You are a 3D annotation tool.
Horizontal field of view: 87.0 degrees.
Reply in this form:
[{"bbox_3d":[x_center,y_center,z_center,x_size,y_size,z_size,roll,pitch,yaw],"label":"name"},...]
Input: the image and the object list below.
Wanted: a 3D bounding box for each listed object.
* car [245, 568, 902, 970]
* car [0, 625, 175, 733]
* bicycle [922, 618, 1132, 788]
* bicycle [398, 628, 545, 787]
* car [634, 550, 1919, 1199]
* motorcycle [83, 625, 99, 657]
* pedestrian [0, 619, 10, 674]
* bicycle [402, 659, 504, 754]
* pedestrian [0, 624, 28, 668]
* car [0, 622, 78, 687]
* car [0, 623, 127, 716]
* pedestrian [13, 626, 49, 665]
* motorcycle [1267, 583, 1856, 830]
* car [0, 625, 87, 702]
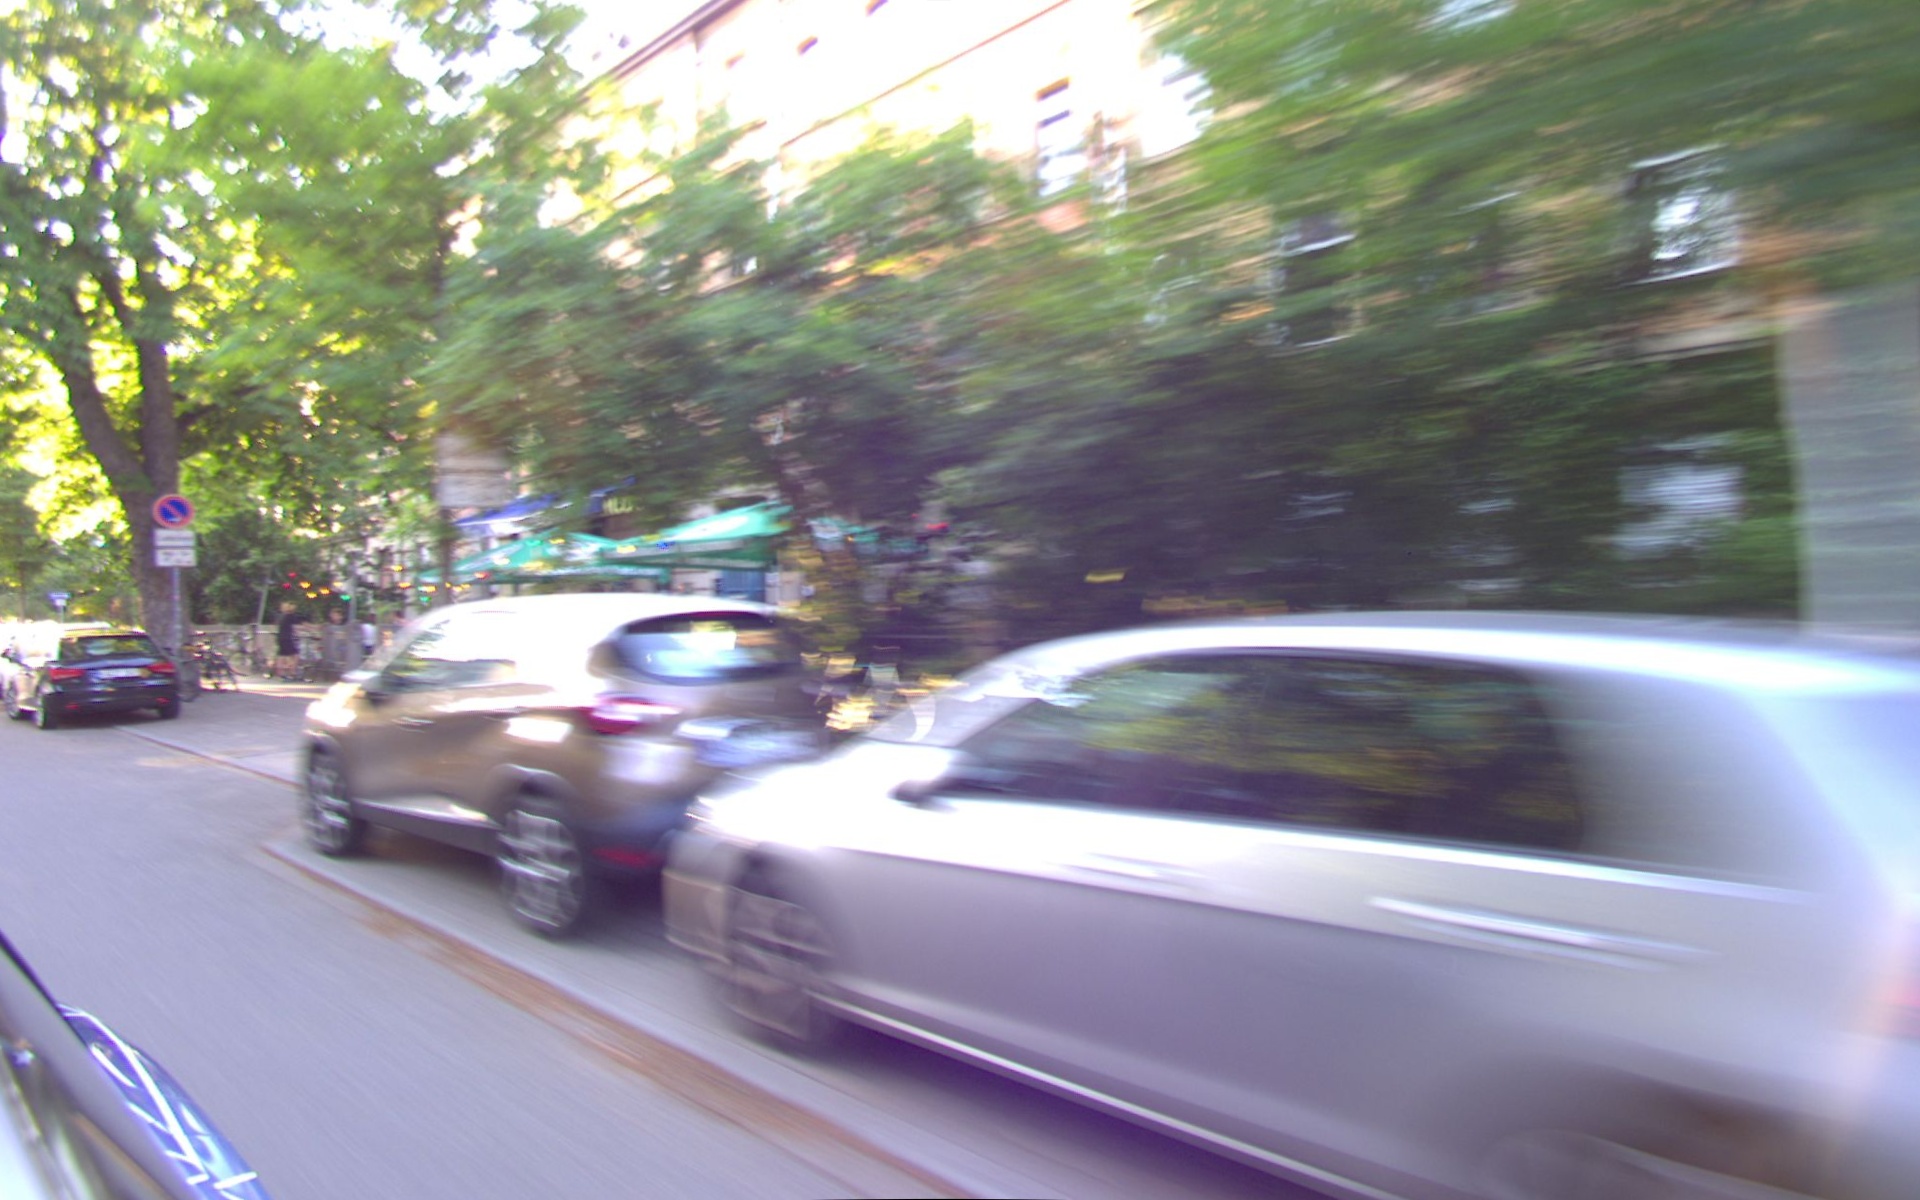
[{"bbox_3d":[-2.563,0.725,6.093,4.397,1.575,1.673,-2,1,39],"label":"car"},{"bbox_3d":[-13.823,1.176,15.942,3.690,1.497,1.536,-2,-2,40],"label":"car"},{"bbox_3d":[0.500,0.823,9.001,0.597,1.294,2.493,0,-2,-29],"label":"bicycle"},{"bbox_3d":[-4.433,0.914,9.110,1.900,1.264,0.477,-2,2,44],"label":"bicycle"},{"bbox_3d":[1.053,0.680,2.868,4.400,1.513,1.672,-1,2,41],"label":"car"},{"bbox_3d":[-34.185,1.594,39.802,0.386,1.194,1.960,-2,0,-39],"label":"motorcycle"},{"bbox_3d":[-36.297,1.744,37.781,1.002,2.029,0.863,-1,-2,21],"label":"pedestrian"},{"bbox_3d":[-5.630,1.142,11.185,1.734,0.936,0.411,-2,1,44],"label":"bicycle"},{"bbox_3d":[-40.740,1.955,43.413,1.000,1.849,0.684,-1,-2,15],"label":"pedestrian"},{"bbox_3d":[-24.151,1.380,25.534,4.590,1.422,1.824,-2,1,36],"label":"car"},{"bbox_3d":[-17.078,1.258,19.097,3.693,1.496,1.535,-2,1,42],"label":"car"},{"bbox_3d":[-39.527,1.940,43.069,1.043,1.643,0.684,-1,-2,15],"label":"pedestrian"},{"bbox_3d":[3.352,0.570,6.012,2.890,1.165,0.576,-3,0,41],"label":"motorcycle"},{"bbox_3d":[-20.147,1.336,21.750,3.884,1.446,1.586,-2,1,42],"label":"car"}]
